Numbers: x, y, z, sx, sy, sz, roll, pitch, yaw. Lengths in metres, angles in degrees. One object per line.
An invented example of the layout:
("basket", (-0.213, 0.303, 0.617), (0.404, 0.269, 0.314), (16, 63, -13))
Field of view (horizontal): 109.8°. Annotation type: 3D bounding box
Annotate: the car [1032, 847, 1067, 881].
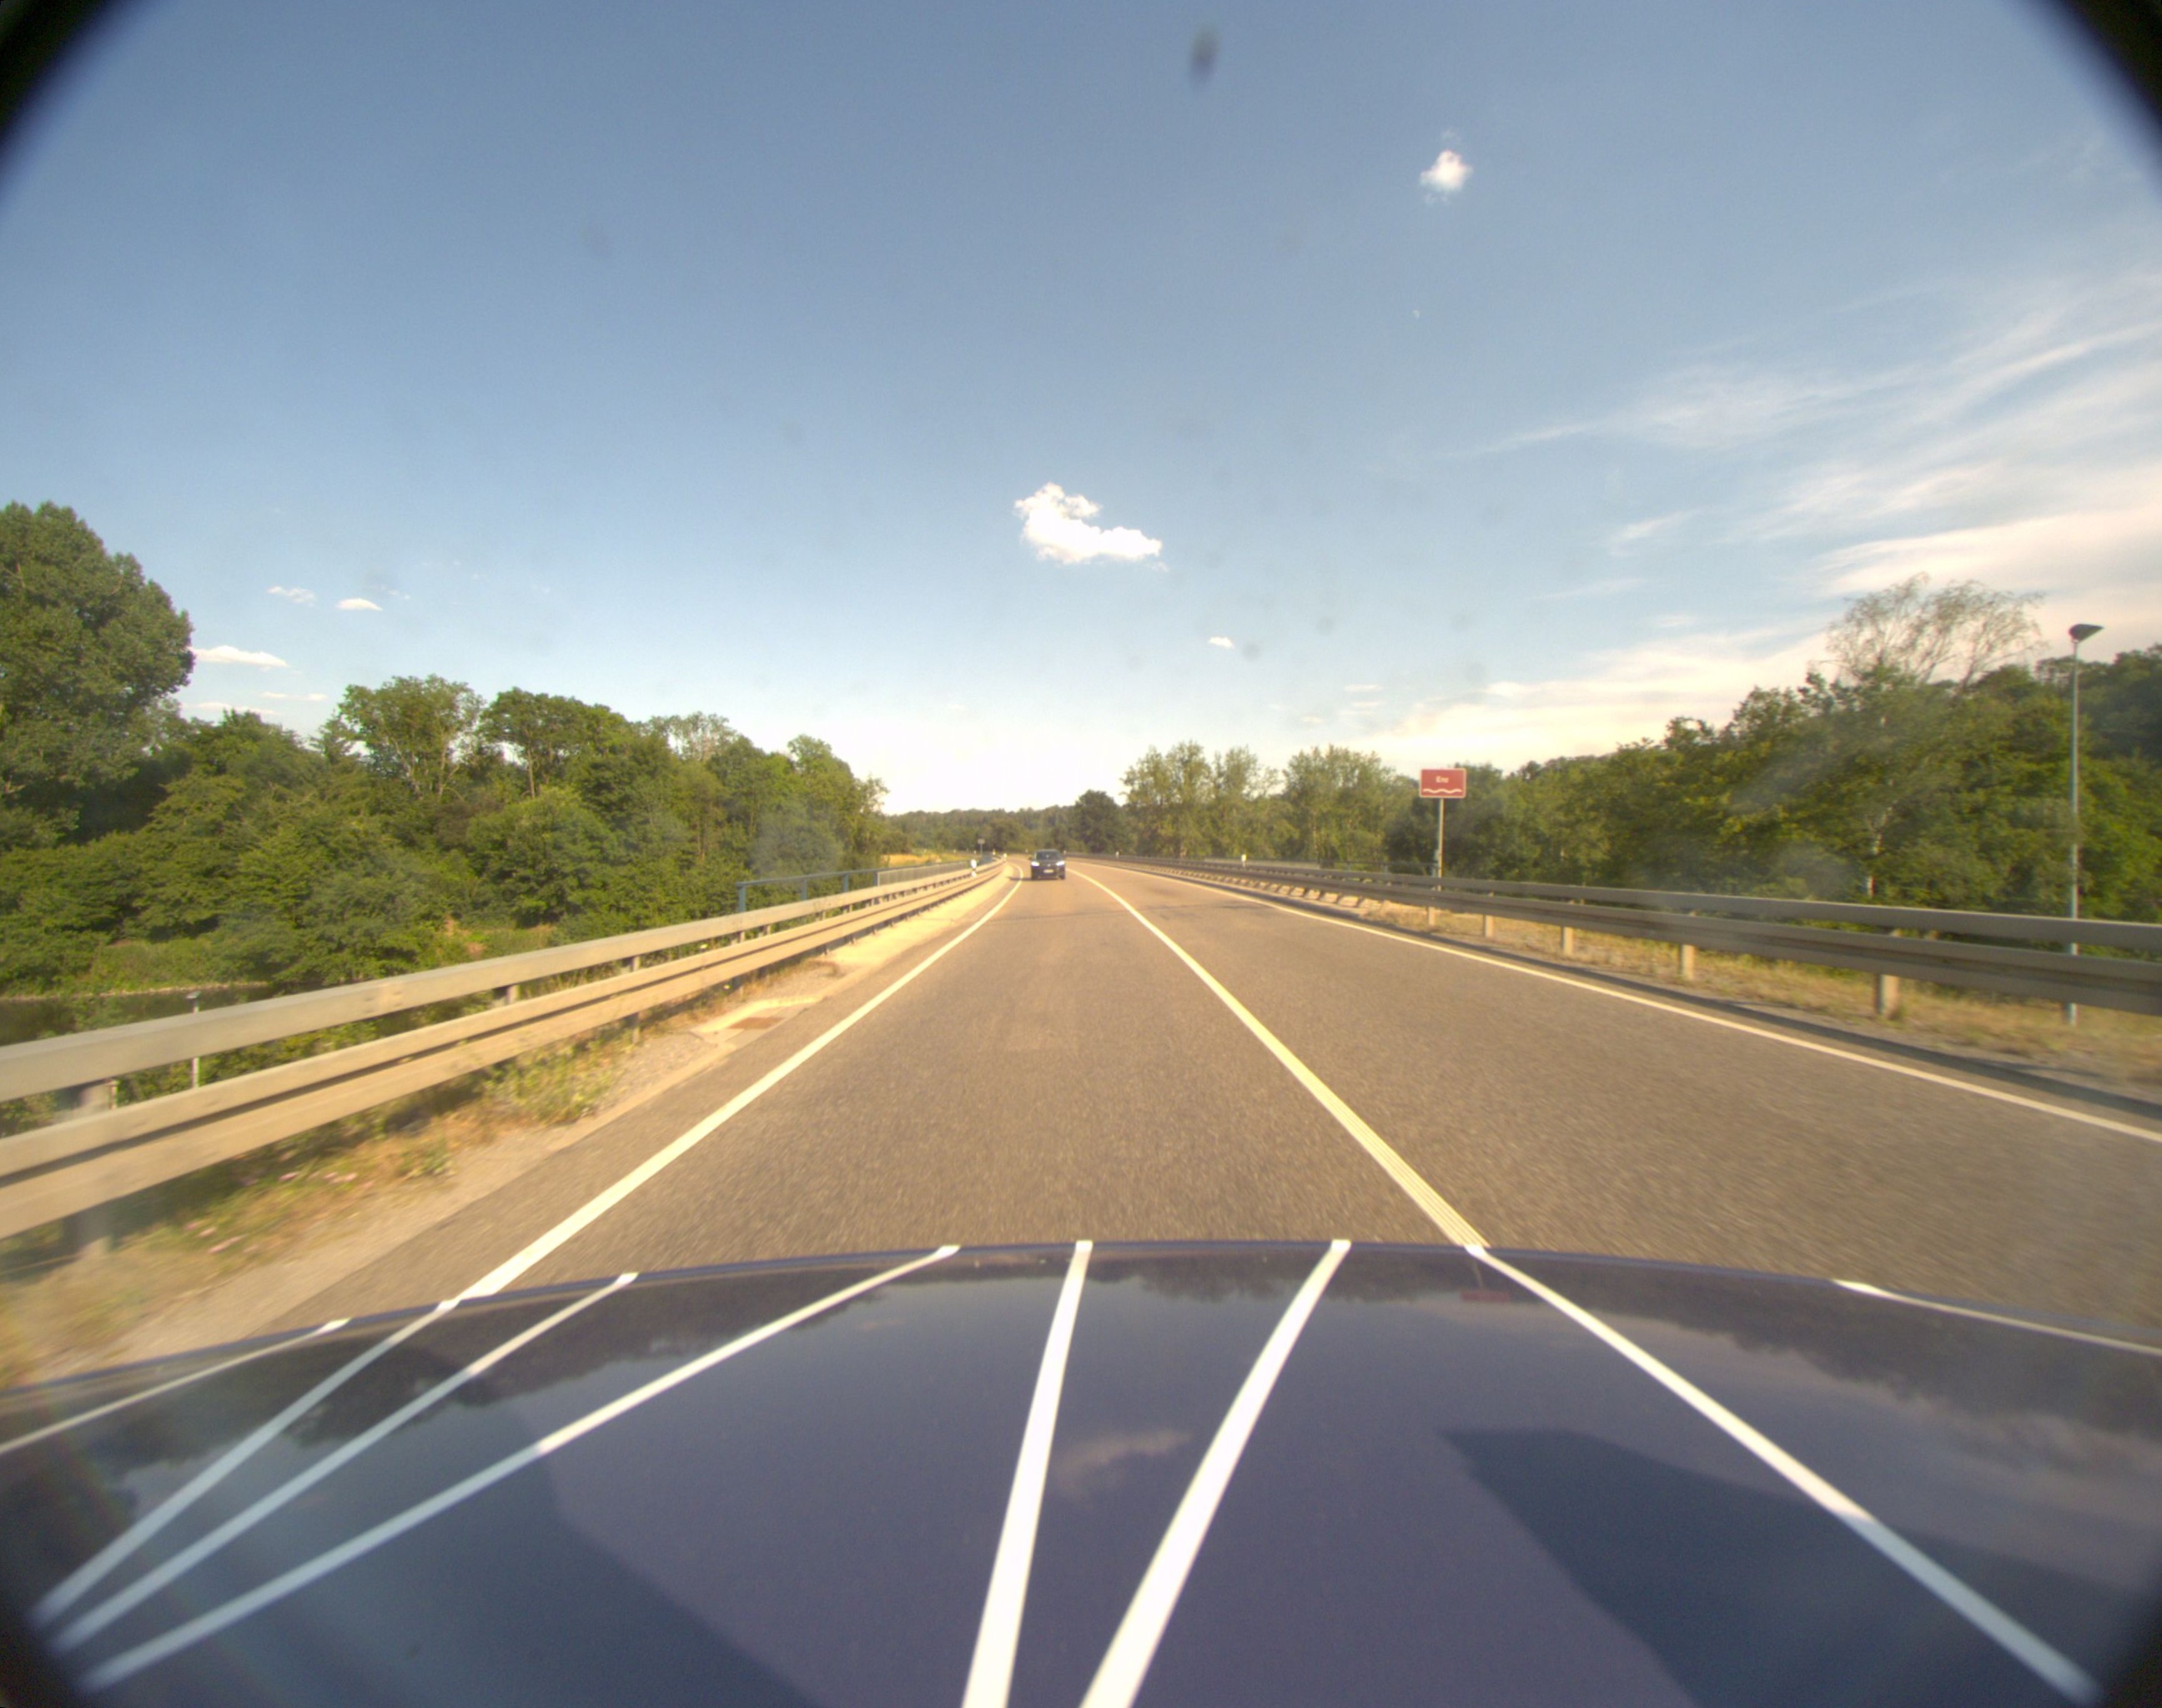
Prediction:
("car", (-1.780, 0.496, 41.961), (1.751, 1.645, 4.303), (-1, 2, -5))
